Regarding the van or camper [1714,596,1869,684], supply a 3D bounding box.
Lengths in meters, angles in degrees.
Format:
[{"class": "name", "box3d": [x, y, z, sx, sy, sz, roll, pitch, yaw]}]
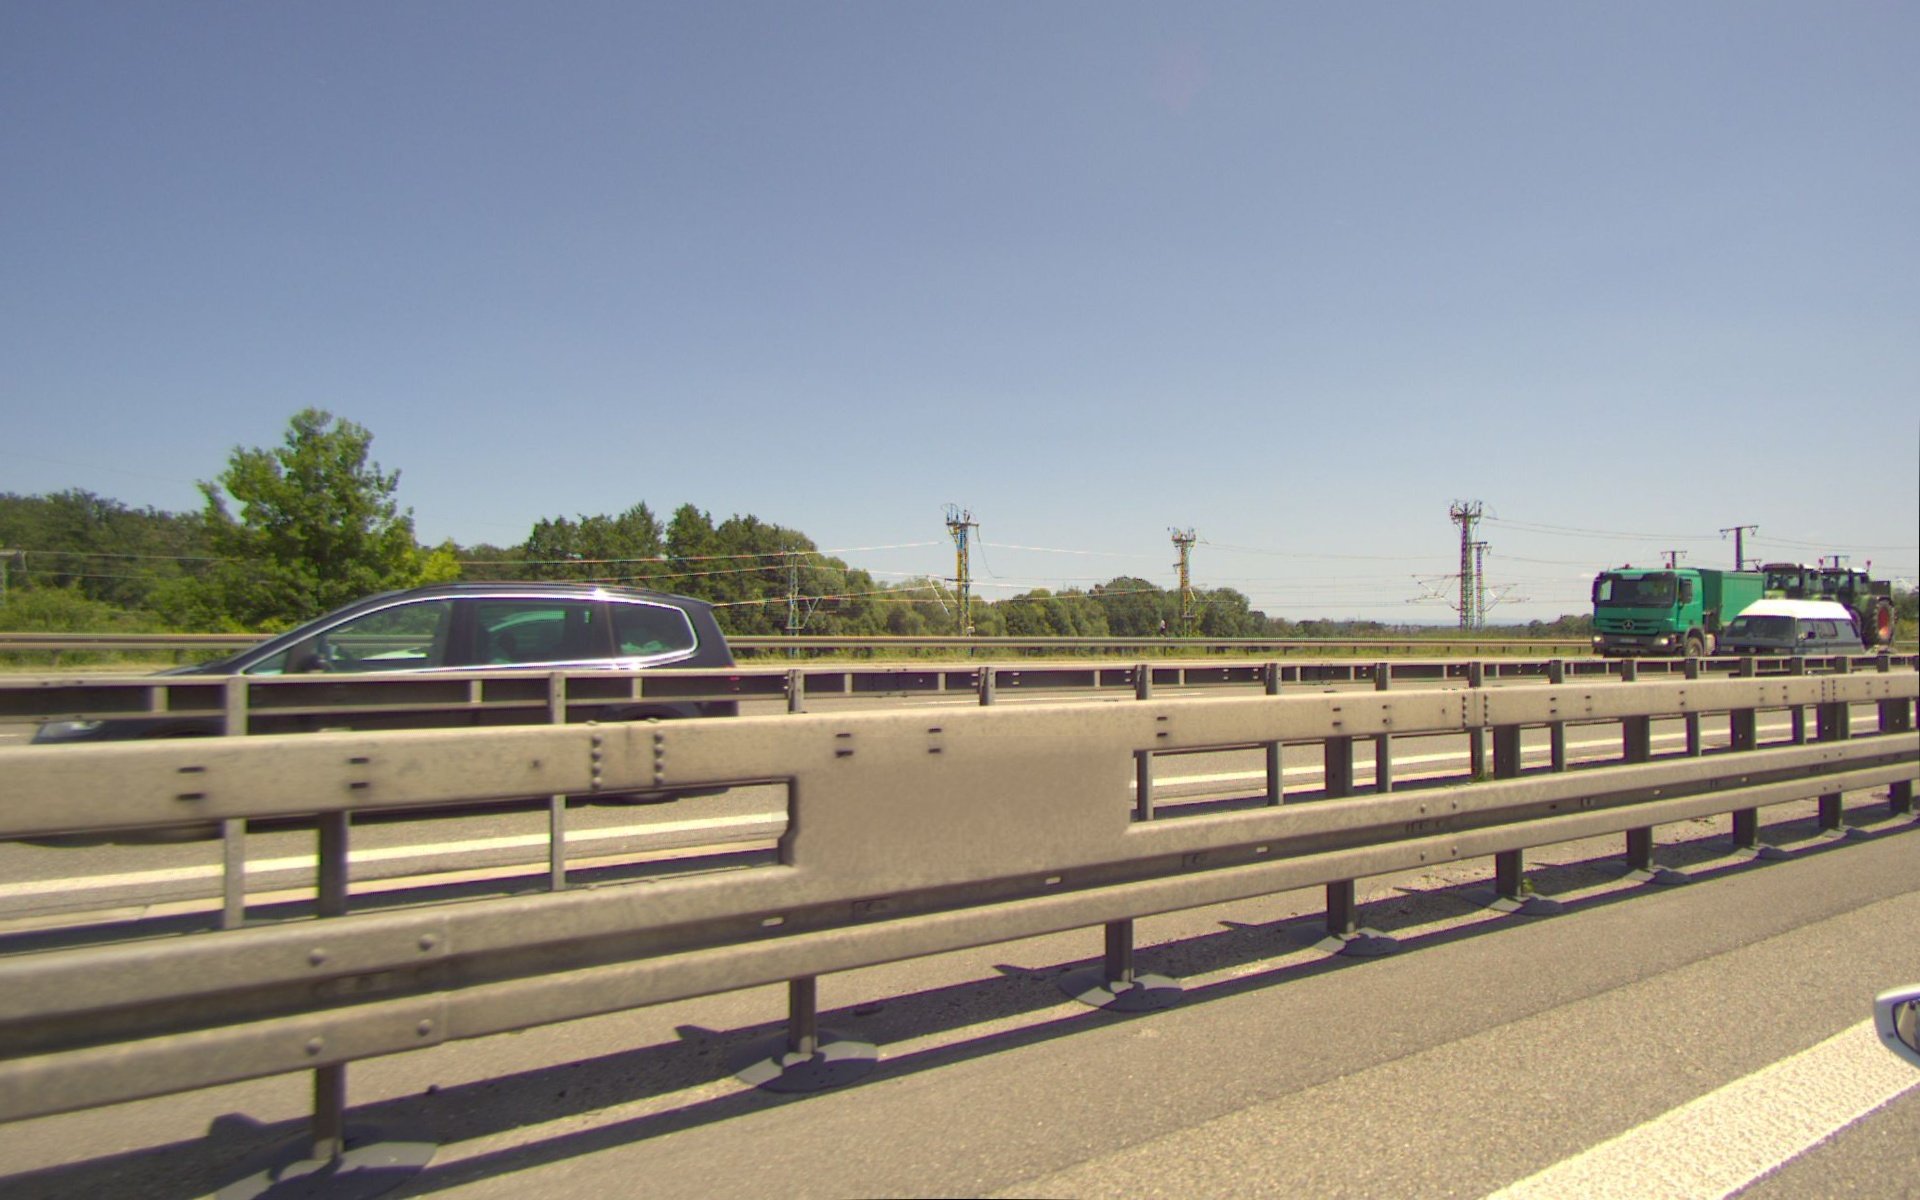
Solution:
[{"class": "van or camper", "box3d": [22.947, 1.076, 27.678, 4.884, 2.251, 1.747, 1, 0, -31]}]

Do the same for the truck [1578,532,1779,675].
[{"class": "truck", "box3d": [23.813, 0.236, 33.210, 6.895, 4.301, 2.746, 2, -1, -30]}]

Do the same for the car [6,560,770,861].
[{"class": "car", "box3d": [-4.019, 0.692, 7.853, 4.667, 1.764, 1.747, 1, -1, -31]}]

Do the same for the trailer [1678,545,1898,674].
[{"class": "trailer", "box3d": [31.083, 0.536, 37.485, 11.073, 4.301, 2.745, 2, -1, -31]}]

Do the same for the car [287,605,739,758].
[{"class": "car", "box3d": [-5.113, 0.859, 11.866, 4.581, 1.501, 1.747, 1, -1, -31]}]
